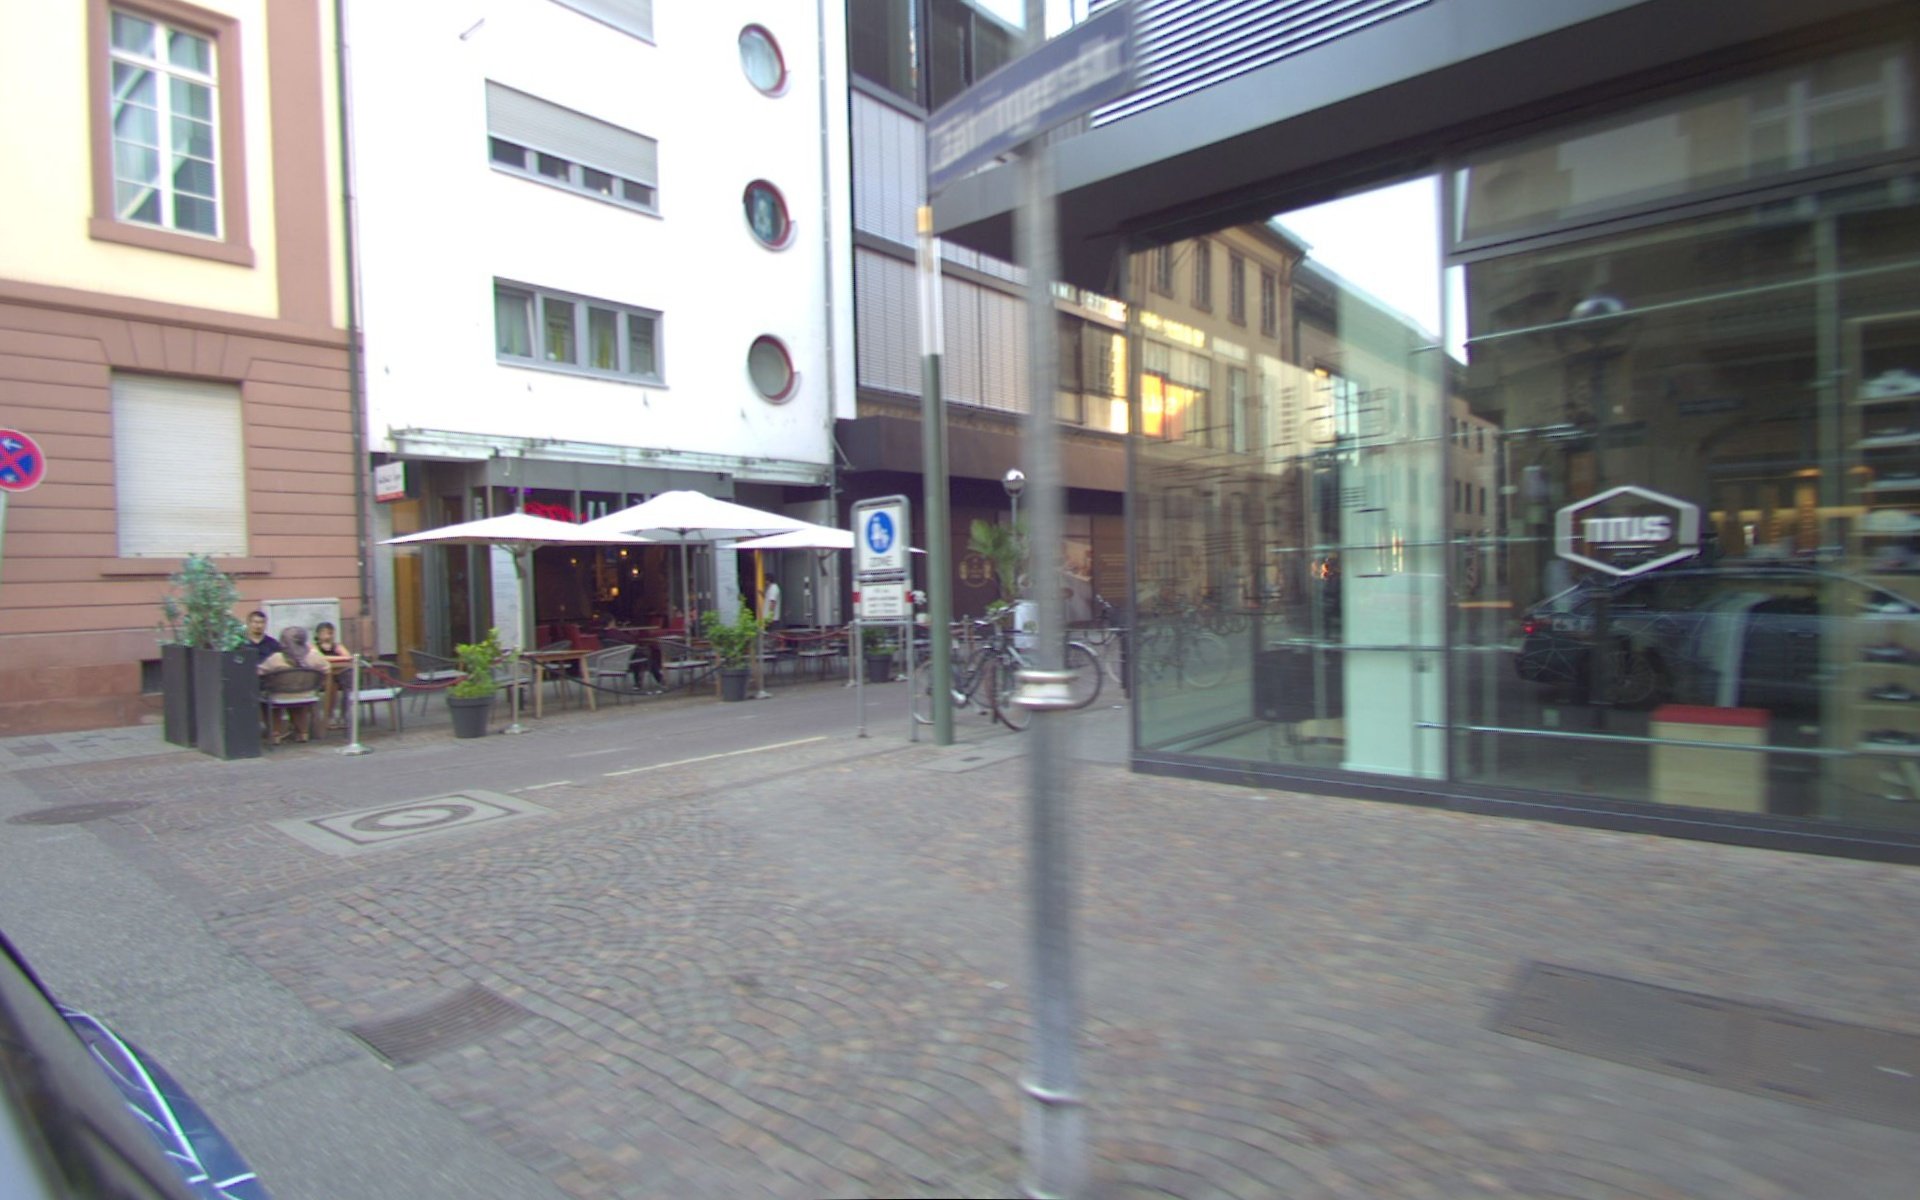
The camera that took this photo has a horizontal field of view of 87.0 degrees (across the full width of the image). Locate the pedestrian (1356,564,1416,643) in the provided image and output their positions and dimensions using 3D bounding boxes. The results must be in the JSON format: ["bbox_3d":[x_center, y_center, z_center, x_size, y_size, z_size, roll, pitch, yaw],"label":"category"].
[{"bbox_3d":[9.250,0.069,21.966,0.902,1.673,0.917,-1,1,42],"label":"pedestrian"}]

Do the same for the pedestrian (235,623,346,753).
[{"bbox_3d":[-6.698,0.849,10.123,0.791,1.192,0.666,1,2,35],"label":"pedestrian"}]

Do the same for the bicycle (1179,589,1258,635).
[{"bbox_3d":[6.562,0.281,25.763,1.952,1.082,0.461,2,3,40],"label":"bicycle"}]

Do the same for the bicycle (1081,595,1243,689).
[{"bbox_3d":[2.587,0.568,13.160,2.039,1.130,0.461,-4,-1,41],"label":"bicycle"}]

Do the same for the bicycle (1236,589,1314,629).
[{"bbox_3d":[8.707,0.239,28.052,2.053,1.024,0.461,2,3,40],"label":"bicycle"}]

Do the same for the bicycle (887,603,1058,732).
[{"bbox_3d":[0.089,0.650,9.856,1.701,1.145,0.461,-4,-1,40],"label":"bicycle"}]

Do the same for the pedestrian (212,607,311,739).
[{"bbox_3d":[-7.632,0.767,11.061,0.792,1.341,0.665,1,2,39],"label":"pedestrian"}]

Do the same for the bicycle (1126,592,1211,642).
[{"bbox_3d":[4.817,0.378,23.454,1.952,1.082,0.461,2,3,40],"label":"bicycle"}]

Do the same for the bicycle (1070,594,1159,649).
[{"bbox_3d":[3.327,0.446,21.913,1.952,1.082,0.461,2,3,40],"label":"bicycle"}]

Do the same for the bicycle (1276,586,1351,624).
[{"bbox_3d":[10.403,0.125,29.825,2.053,1.057,0.461,2,3,40],"label":"bicycle"}]

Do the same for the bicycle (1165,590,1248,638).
[{"bbox_3d":[5.979,0.332,24.638,1.952,1.082,0.461,2,3,40],"label":"bicycle"}]

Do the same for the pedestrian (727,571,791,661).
[{"bbox_3d":[-3.833,0.292,19.320,0.853,1.671,0.794,-2,1,24],"label":"pedestrian"}]

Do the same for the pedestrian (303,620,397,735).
[{"bbox_3d":[-6.893,0.851,11.436,0.792,1.192,0.665,1,2,39],"label":"pedestrian"}]

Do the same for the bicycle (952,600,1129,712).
[{"bbox_3d":[0.852,0.623,11.204,2.014,1.130,0.461,-4,-1,41],"label":"bicycle"}]

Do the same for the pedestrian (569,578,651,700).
[{"bbox_3d":[-4.942,0.534,14.298,0.791,1.661,0.717,-2,1,35],"label":"pedestrian"}]
